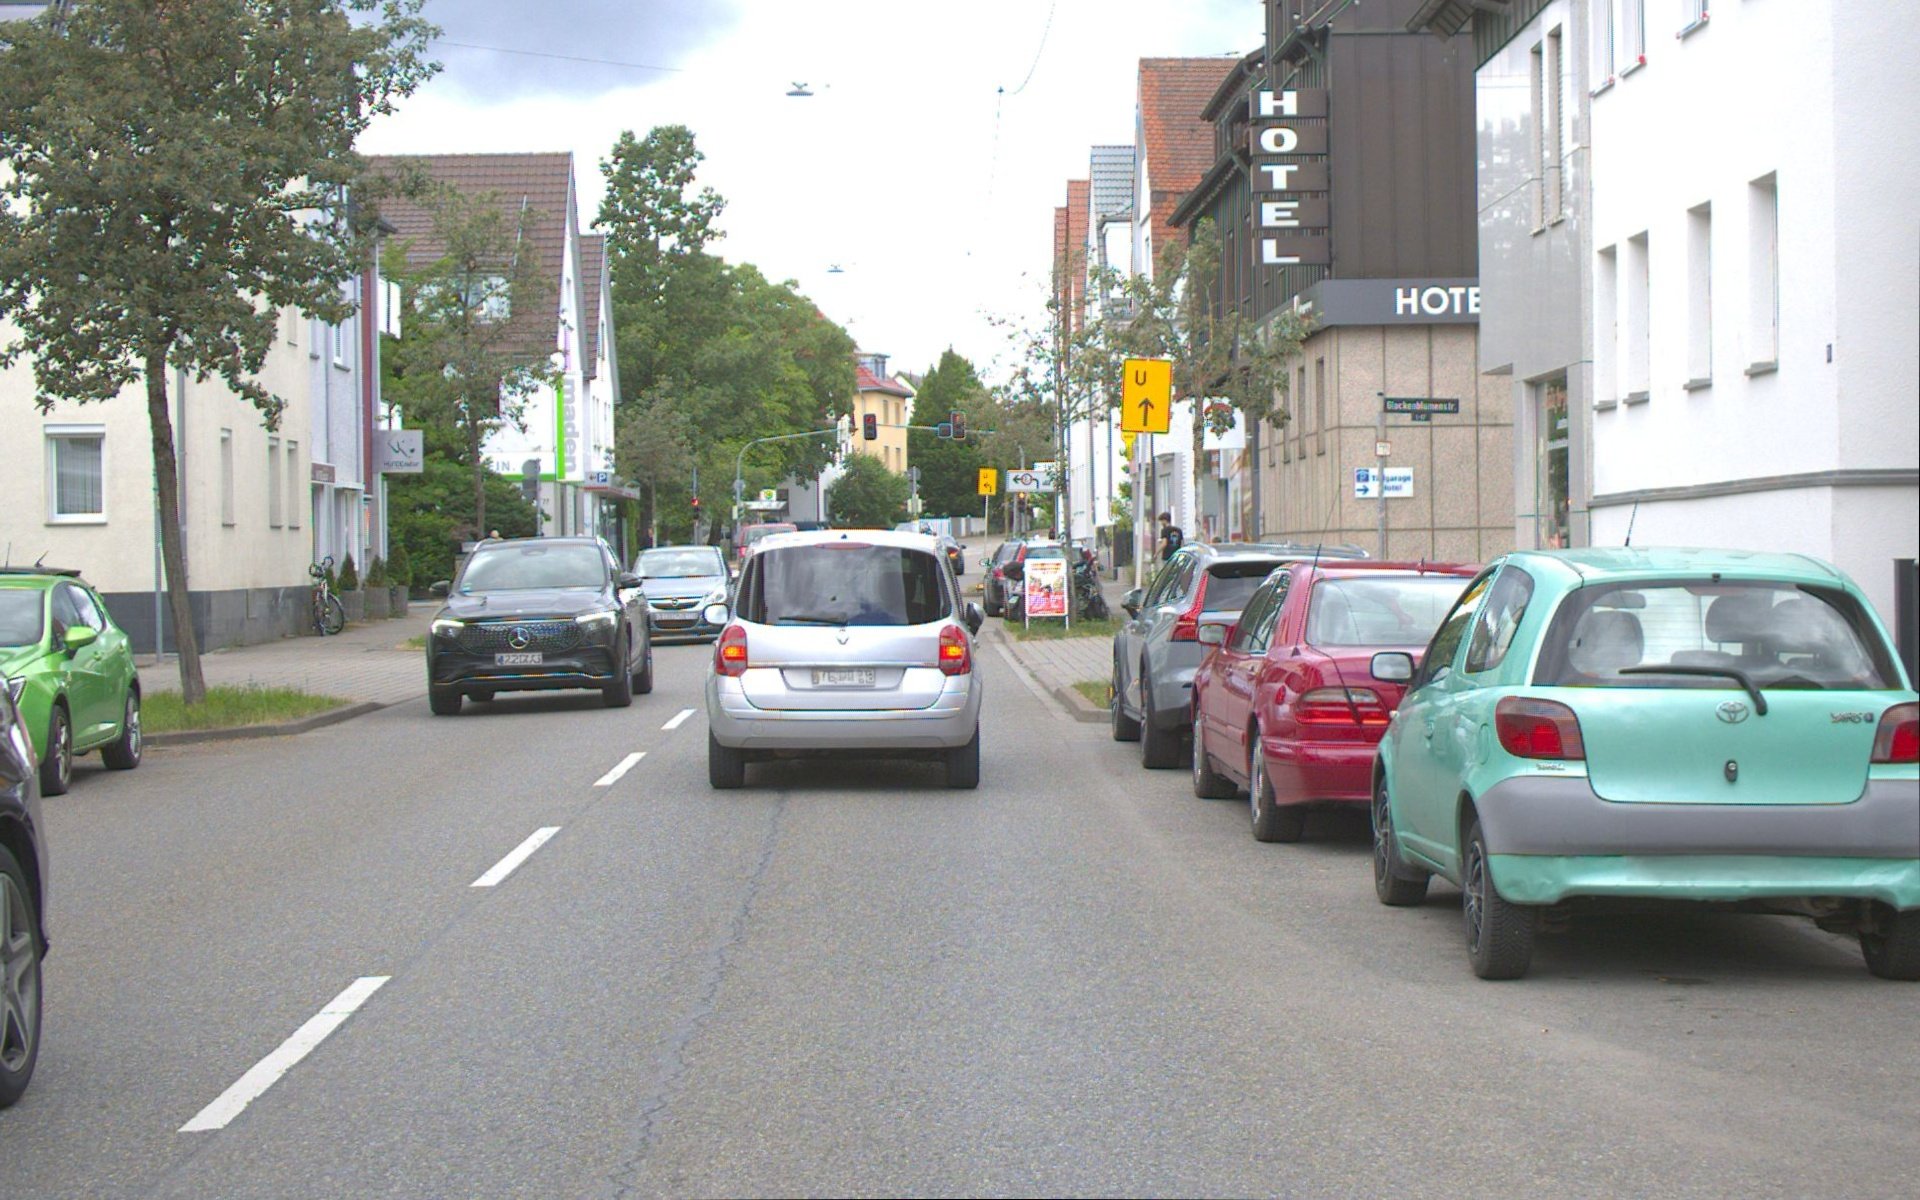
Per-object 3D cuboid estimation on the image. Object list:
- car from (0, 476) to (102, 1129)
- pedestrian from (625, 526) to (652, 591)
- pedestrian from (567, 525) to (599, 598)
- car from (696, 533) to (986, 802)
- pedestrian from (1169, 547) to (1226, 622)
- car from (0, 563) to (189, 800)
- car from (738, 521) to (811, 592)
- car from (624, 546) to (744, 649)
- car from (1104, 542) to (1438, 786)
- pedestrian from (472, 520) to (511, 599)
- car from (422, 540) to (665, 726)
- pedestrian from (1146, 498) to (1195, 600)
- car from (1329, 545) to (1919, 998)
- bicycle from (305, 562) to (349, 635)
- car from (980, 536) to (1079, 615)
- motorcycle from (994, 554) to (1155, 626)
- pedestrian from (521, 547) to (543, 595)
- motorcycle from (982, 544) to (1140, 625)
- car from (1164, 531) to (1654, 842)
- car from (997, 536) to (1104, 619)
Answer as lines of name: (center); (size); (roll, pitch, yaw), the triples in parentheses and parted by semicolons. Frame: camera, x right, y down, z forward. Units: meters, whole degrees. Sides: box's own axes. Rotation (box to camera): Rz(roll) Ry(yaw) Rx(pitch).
car: (-3.514, 0.587, 7.997); (1.900, 1.731, 4.366); (-2, 1, 0)
pedestrian: (-9.253, -1.191, 98.871); (0.716, 1.869, 0.696); (0, 1, -1)
pedestrian: (-9.764, -0.996, 89.107); (0.762, 1.869, 0.696); (0, 1, -1)
car: (-0.711, 0.365, 22.162); (1.682, 1.560, 3.993); (1, 1, 0)
pedestrian: (4.355, -0.296, 63.116); (0.887, 1.295, 0.966); (-4, 1, 0)
car: (-6.581, 0.515, 23.493); (1.682, 1.442, 4.020); (-2, 1, 0)
car: (-5.361, -1.272, 99.803); (1.952, 2.007, 4.000); (0, 1, -1)
car: (-4.159, -0.071, 52.189); (1.682, 1.442, 4.021); (-2, 1, -3)
car: (2.064, 0.370, 23.991); (1.875, 1.534, 4.513); (0, 1, -1)
pedestrian: (-10.574, -0.919, 77.588); (0.762, 1.785, 0.890); (0, 1, -1)
car: (-3.891, 0.253, 32.726); (1.794, 1.573, 4.192); (-3, 1, -1)
pedestrian: (4.009, -0.974, 65.467); (0.857, 1.921, 0.900); (0, 1, -1)
car: (2.590, 0.539, 13.401); (1.831, 1.492, 3.993); (1, 1, 0)
bicycle: (-10.107, -0.033, 54.924); (0.514, 1.149, 1.666); (0, 1, -4)
car: (1.307, -0.495, 66.149); (1.700, 1.462, 4.239); (0, 1, -1)
motorcycle: (1.911, -0.176, 57.152); (2.728, 1.179, 0.700); (0, 1, -31)
pedestrian: (-11.340, -0.772, 91.088); (0.492, 1.273, 0.588); (0, 1, -1)
motorcycle: (1.716, -0.269, 58.194); (2.707, 1.331, 0.700); (0, 1, -31)
car: (2.231, 0.371, 18.270); (1.755, 1.441, 4.455); (0, 1, -4)
car: (1.591, -0.413, 61.340); (1.700, 1.425, 3.891); (0, 1, -1)
